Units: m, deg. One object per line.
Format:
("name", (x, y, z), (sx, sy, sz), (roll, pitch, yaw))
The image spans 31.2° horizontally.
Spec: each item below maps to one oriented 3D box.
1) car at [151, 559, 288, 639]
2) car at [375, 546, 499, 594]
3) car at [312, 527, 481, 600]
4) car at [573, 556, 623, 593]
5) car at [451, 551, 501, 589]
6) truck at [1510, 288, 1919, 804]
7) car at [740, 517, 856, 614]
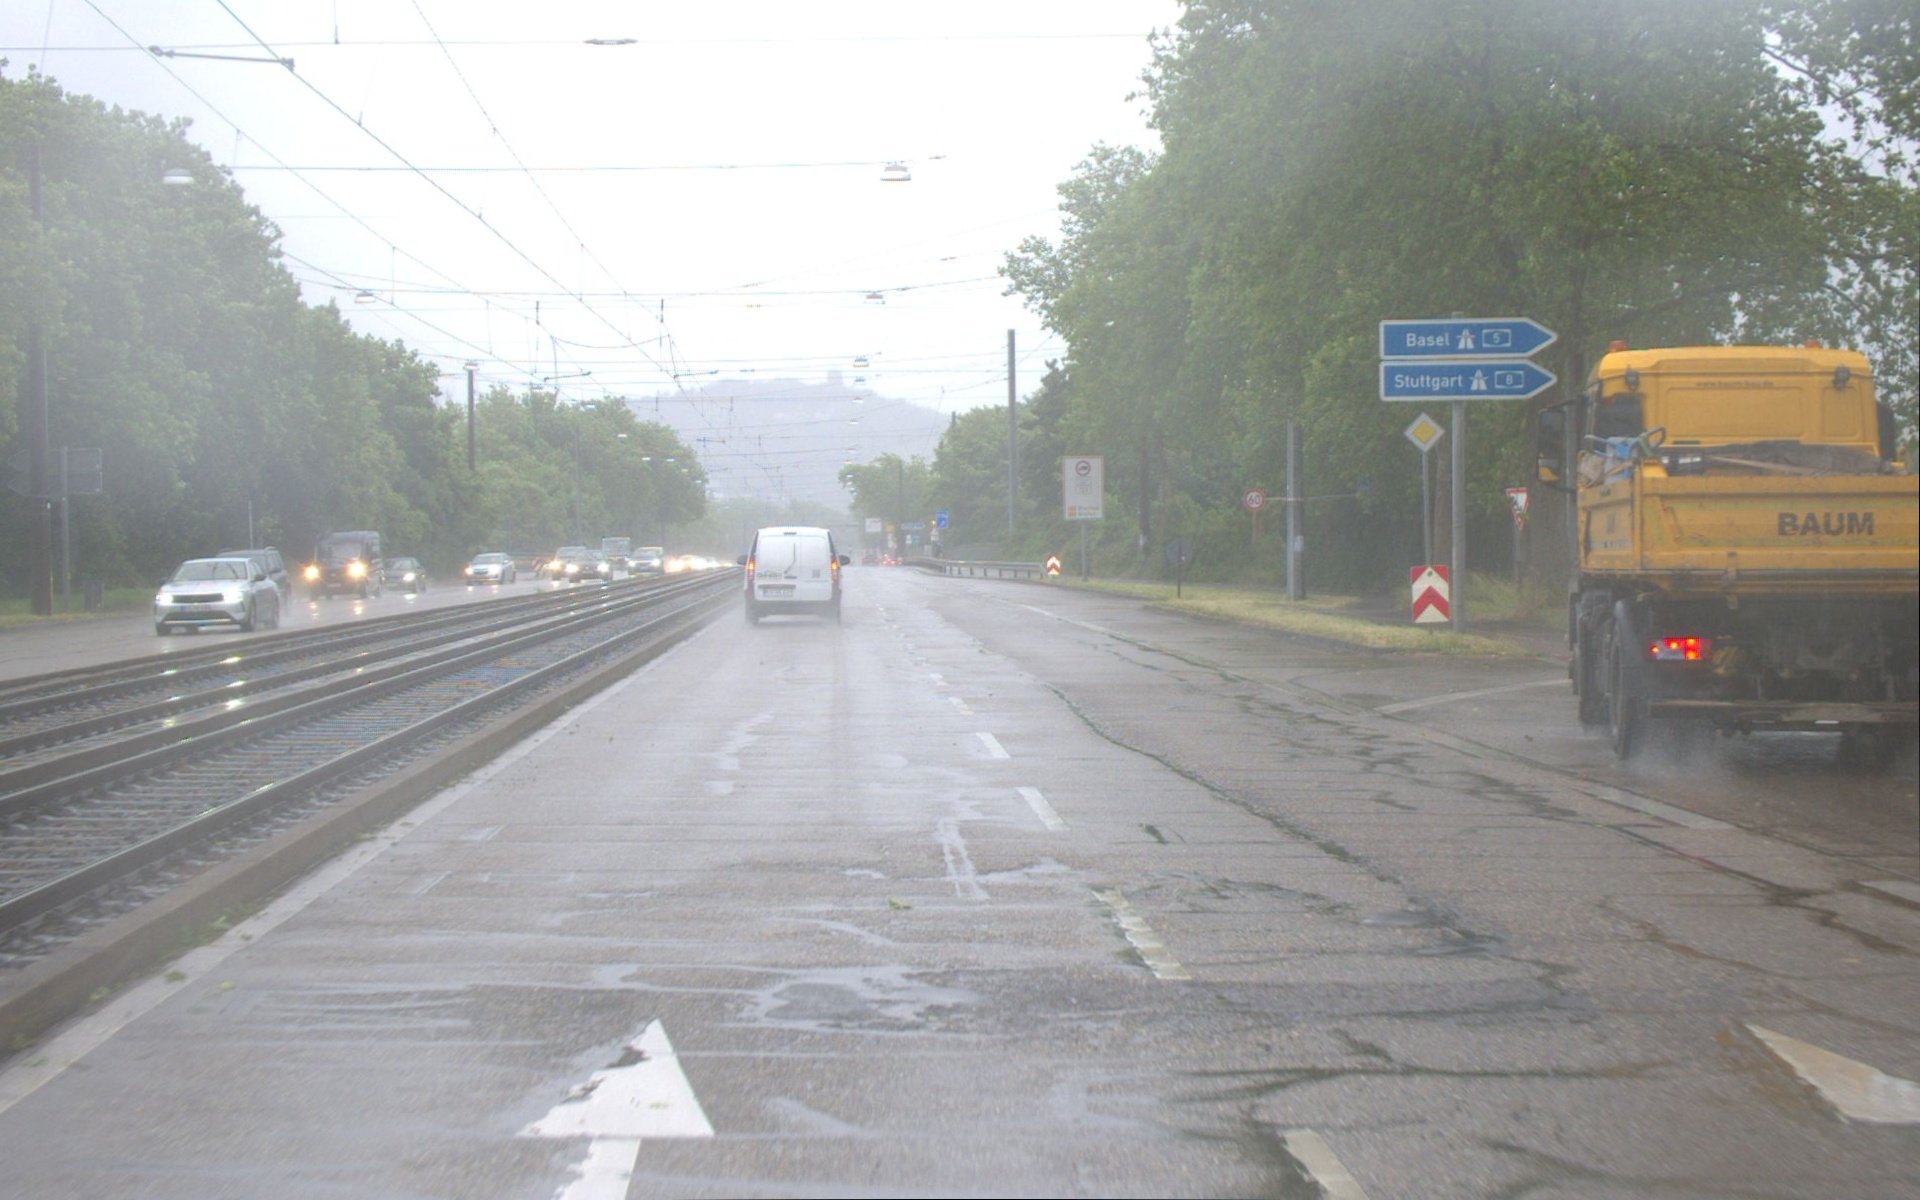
("car", (-14.018, -0.047, 65.288), (1.741, 1.349, 4.546), (1, 2, -2))
("car", (-20.701, -1.208, 136.235), (2.087, 1.792, 4.753), (2, 2, 37))
("car", (-19.716, -1.311, 120.533), (2.337, 2.417, 5.837), (2, 2, 36))
("car", (-16.570, -1.174, 157.430), (1.790, 1.544, 5.314), (1, 2, -1))
("car", (-23.038, -1.441, 163.853), (1.819, 1.700, 5.021), (1, 2, -2))
("truck", (5.764, -0.454, 25.210), (2.556, 3.246, 6.933), (1, 2, 2))
("car", (-2.962, -0.664, 63.539), (1.989, 1.678, 3.740), (1, 2, -1))
